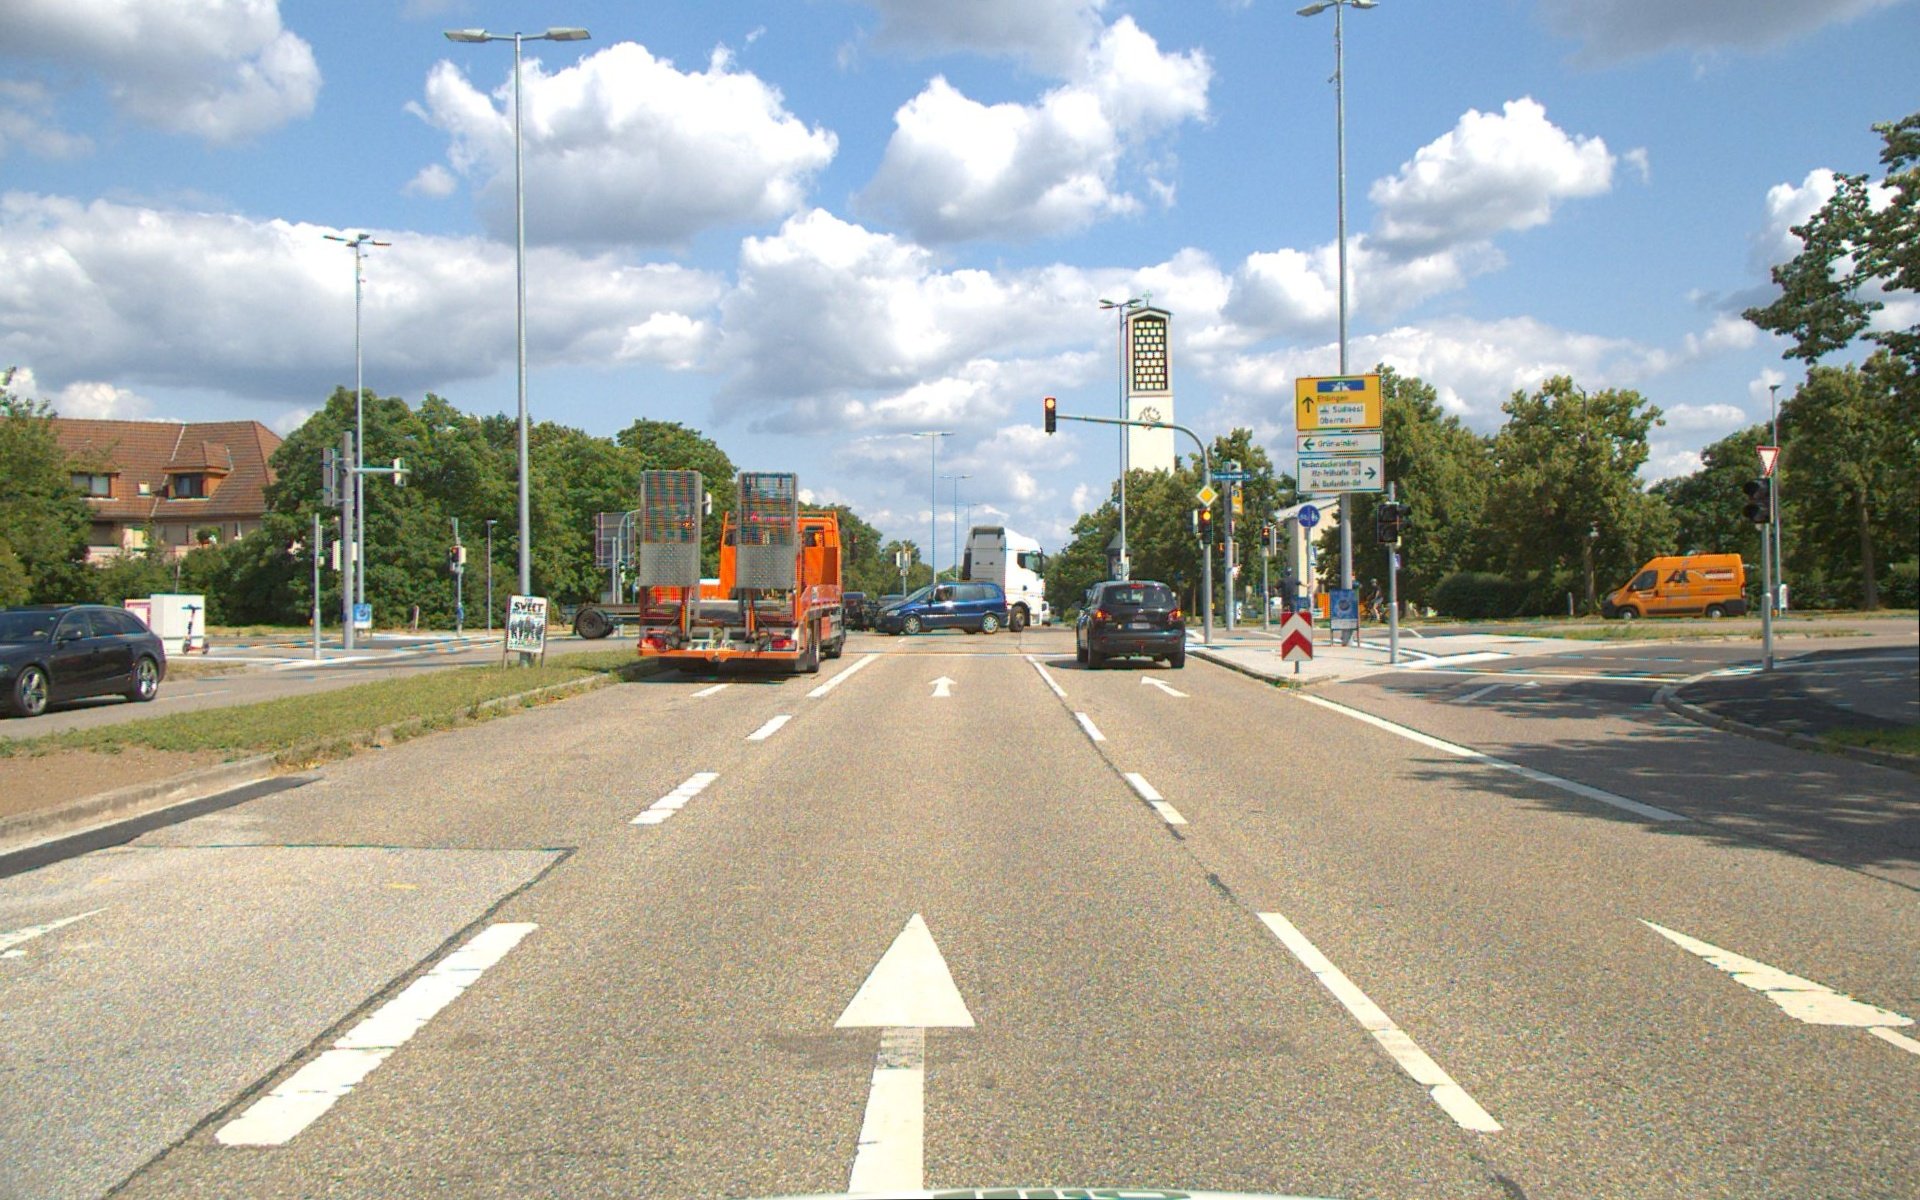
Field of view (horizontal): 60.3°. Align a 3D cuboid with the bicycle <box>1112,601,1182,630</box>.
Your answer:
[{"bbox_3d":[7.587,0.616,66.911,2.794,1.131,0.792,0,0,-23],"label":"bicycle"}]

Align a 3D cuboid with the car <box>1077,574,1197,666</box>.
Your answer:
[{"bbox_3d":[3.261,0.375,31.157,1.763,1.579,3.999,1,-1,-1],"label":"car"}]

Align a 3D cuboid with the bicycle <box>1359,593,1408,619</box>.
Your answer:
[{"bbox_3d":[18.224,0.257,71.198,1.956,1.113,0.686,-1,-1,22],"label":"bicycle"}]

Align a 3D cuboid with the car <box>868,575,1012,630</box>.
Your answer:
[{"bbox_3d":[-0.626,0.083,51.990,4.145,1.601,1.842,2,-1,-24],"label":"car"}]

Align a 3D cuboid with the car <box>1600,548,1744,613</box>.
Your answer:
[{"bbox_3d":[26.029,-0.728,60.496,4.747,2.265,2.210,1,-1,25],"label":"car"}]

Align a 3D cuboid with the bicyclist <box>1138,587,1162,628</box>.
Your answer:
[{"bbox_3d":[7.700,0.320,66.952,0.689,1.644,0.792,0,0,-22],"label":"bicyclist"}]

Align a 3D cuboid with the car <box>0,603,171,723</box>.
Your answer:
[{"bbox_3d":[-12.696,0.816,22.565,1.736,1.463,4.574,-2,0,-1],"label":"car"}]

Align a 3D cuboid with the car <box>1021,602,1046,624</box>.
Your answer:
[{"bbox_3d":[5.452,0.977,123.119,1.624,1.582,3.999,1,-1,-1],"label":"car"}]

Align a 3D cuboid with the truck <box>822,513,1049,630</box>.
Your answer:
[{"bbox_3d":[-0.784,-0.994,61.028,8.560,4.040,2.925,0,0,-41],"label":"truck"}]

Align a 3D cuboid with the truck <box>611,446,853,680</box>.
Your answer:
[{"bbox_3d":[-3.799,-0.500,30.545,3.008,3.474,11.065,1,-1,-1],"label":"truck"}]

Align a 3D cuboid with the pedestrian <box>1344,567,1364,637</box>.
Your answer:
[{"bbox_3d":[10.226,0.055,42.955,0.454,1.810,0.482,1,-1,10],"label":"pedestrian"}]

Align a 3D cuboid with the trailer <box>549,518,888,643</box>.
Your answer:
[{"bbox_3d":[-8.202,-0.689,56.514,11.078,4.082,3.623,0,0,-11],"label":"trailer"}]

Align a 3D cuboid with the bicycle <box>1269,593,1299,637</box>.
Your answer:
[{"bbox_3d":[8.549,0.402,43.545,0.634,1.127,1.929,1,-1,15],"label":"bicycle"}]

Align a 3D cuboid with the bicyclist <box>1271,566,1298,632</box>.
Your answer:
[{"bbox_3d":[8.509,-0.019,43.362,0.634,1.690,0.650,1,-1,15],"label":"bicyclist"}]

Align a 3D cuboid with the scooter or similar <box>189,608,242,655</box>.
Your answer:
[{"bbox_3d":[-19.322,0.807,42.963,0.577,1.184,1.761,1,-1,-1],"label":"scooter or similar"}]

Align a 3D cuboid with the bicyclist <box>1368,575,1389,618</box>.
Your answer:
[{"bbox_3d":[18.042,-0.150,71.272,0.770,1.836,0.686,-1,-1,22],"label":"bicyclist"}]
